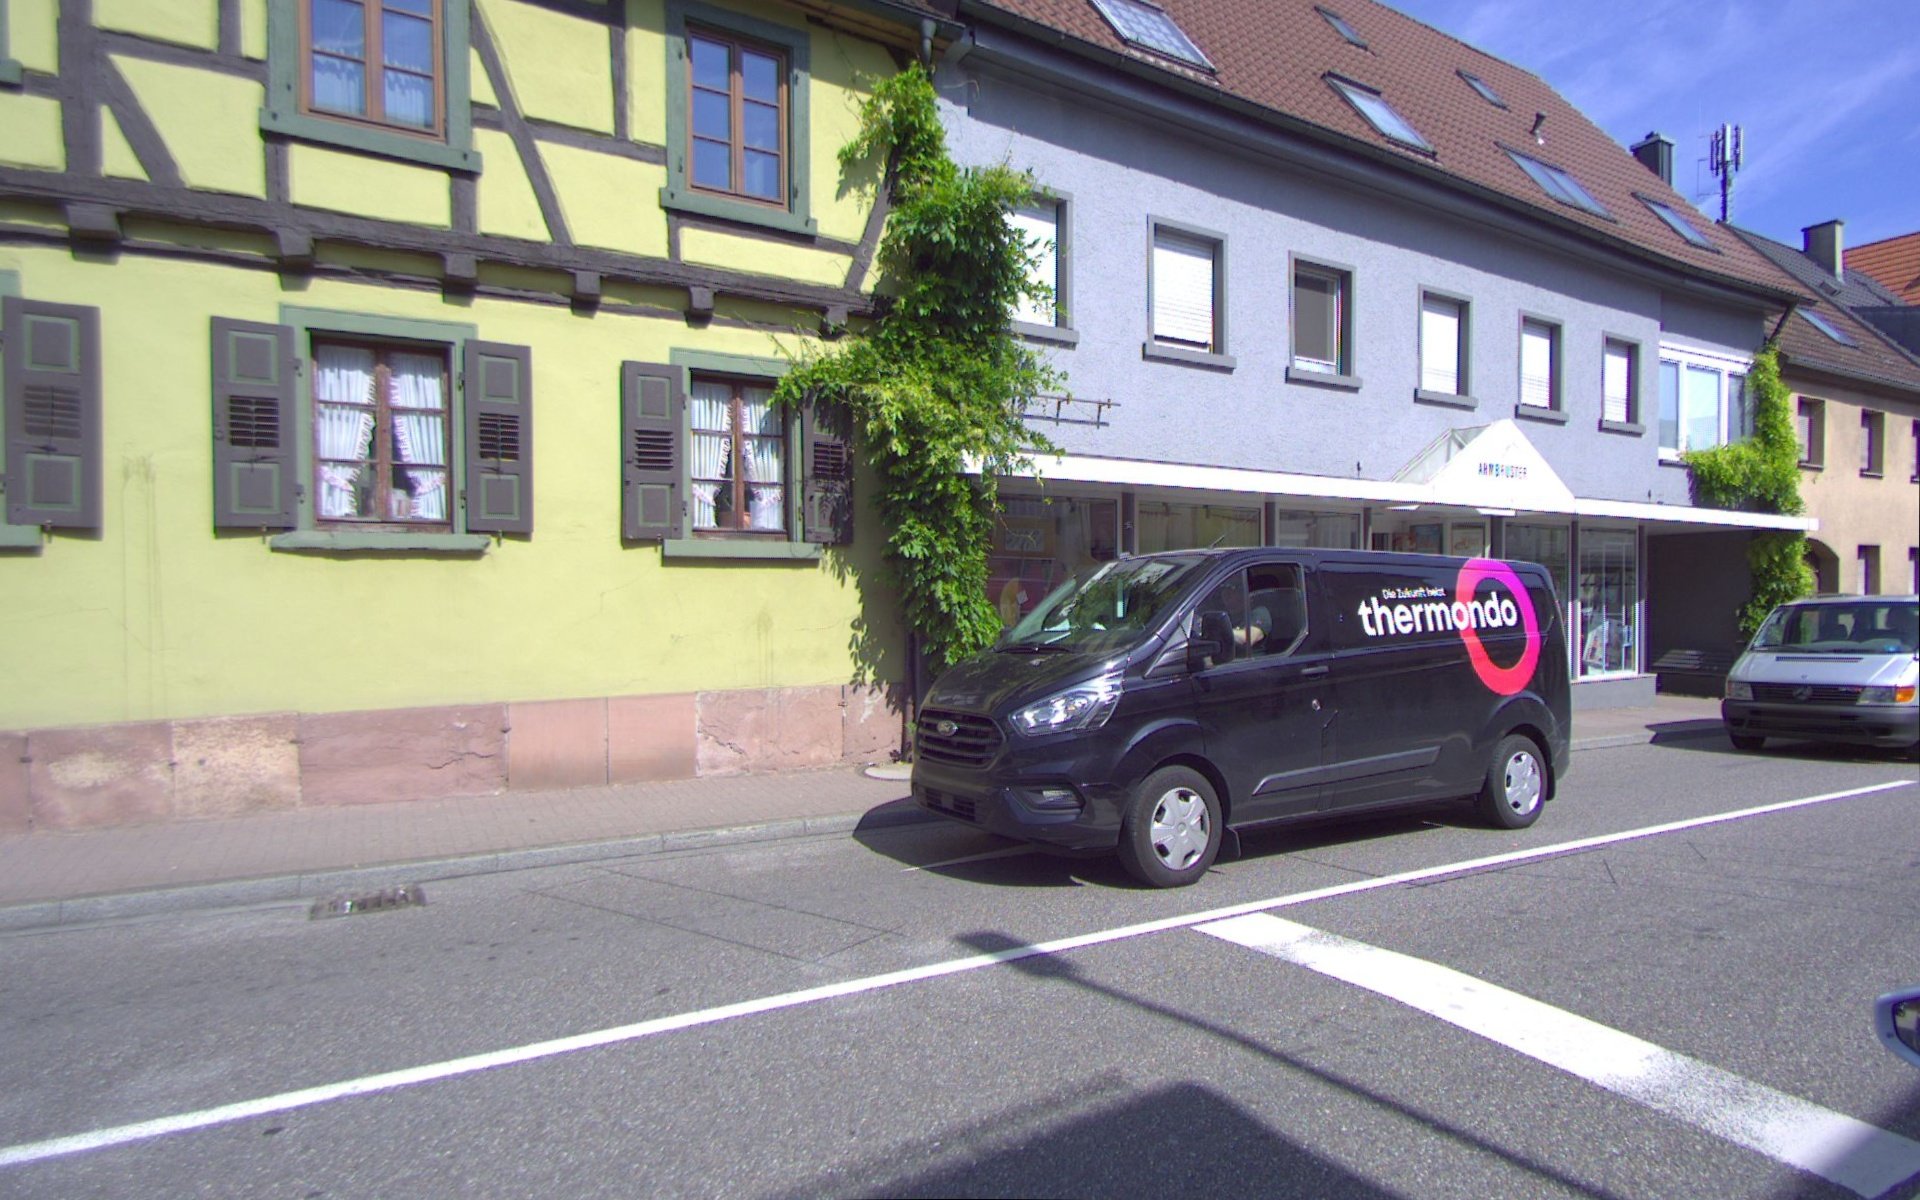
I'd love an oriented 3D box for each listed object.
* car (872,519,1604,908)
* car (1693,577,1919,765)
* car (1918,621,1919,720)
[{"bbox_3d":[2.121,0.618,7.261,5.103,1.948,2.149,1,-2,-30],"label":"car"},{"bbox_3d":[11.075,0.767,12.187,4.498,1.915,1.875,0,-2,-30],"label":"car"},{"bbox_3d":[16.749,1.068,15.525,4.028,1.512,1.751,1,-2,-30],"label":"car"}]
